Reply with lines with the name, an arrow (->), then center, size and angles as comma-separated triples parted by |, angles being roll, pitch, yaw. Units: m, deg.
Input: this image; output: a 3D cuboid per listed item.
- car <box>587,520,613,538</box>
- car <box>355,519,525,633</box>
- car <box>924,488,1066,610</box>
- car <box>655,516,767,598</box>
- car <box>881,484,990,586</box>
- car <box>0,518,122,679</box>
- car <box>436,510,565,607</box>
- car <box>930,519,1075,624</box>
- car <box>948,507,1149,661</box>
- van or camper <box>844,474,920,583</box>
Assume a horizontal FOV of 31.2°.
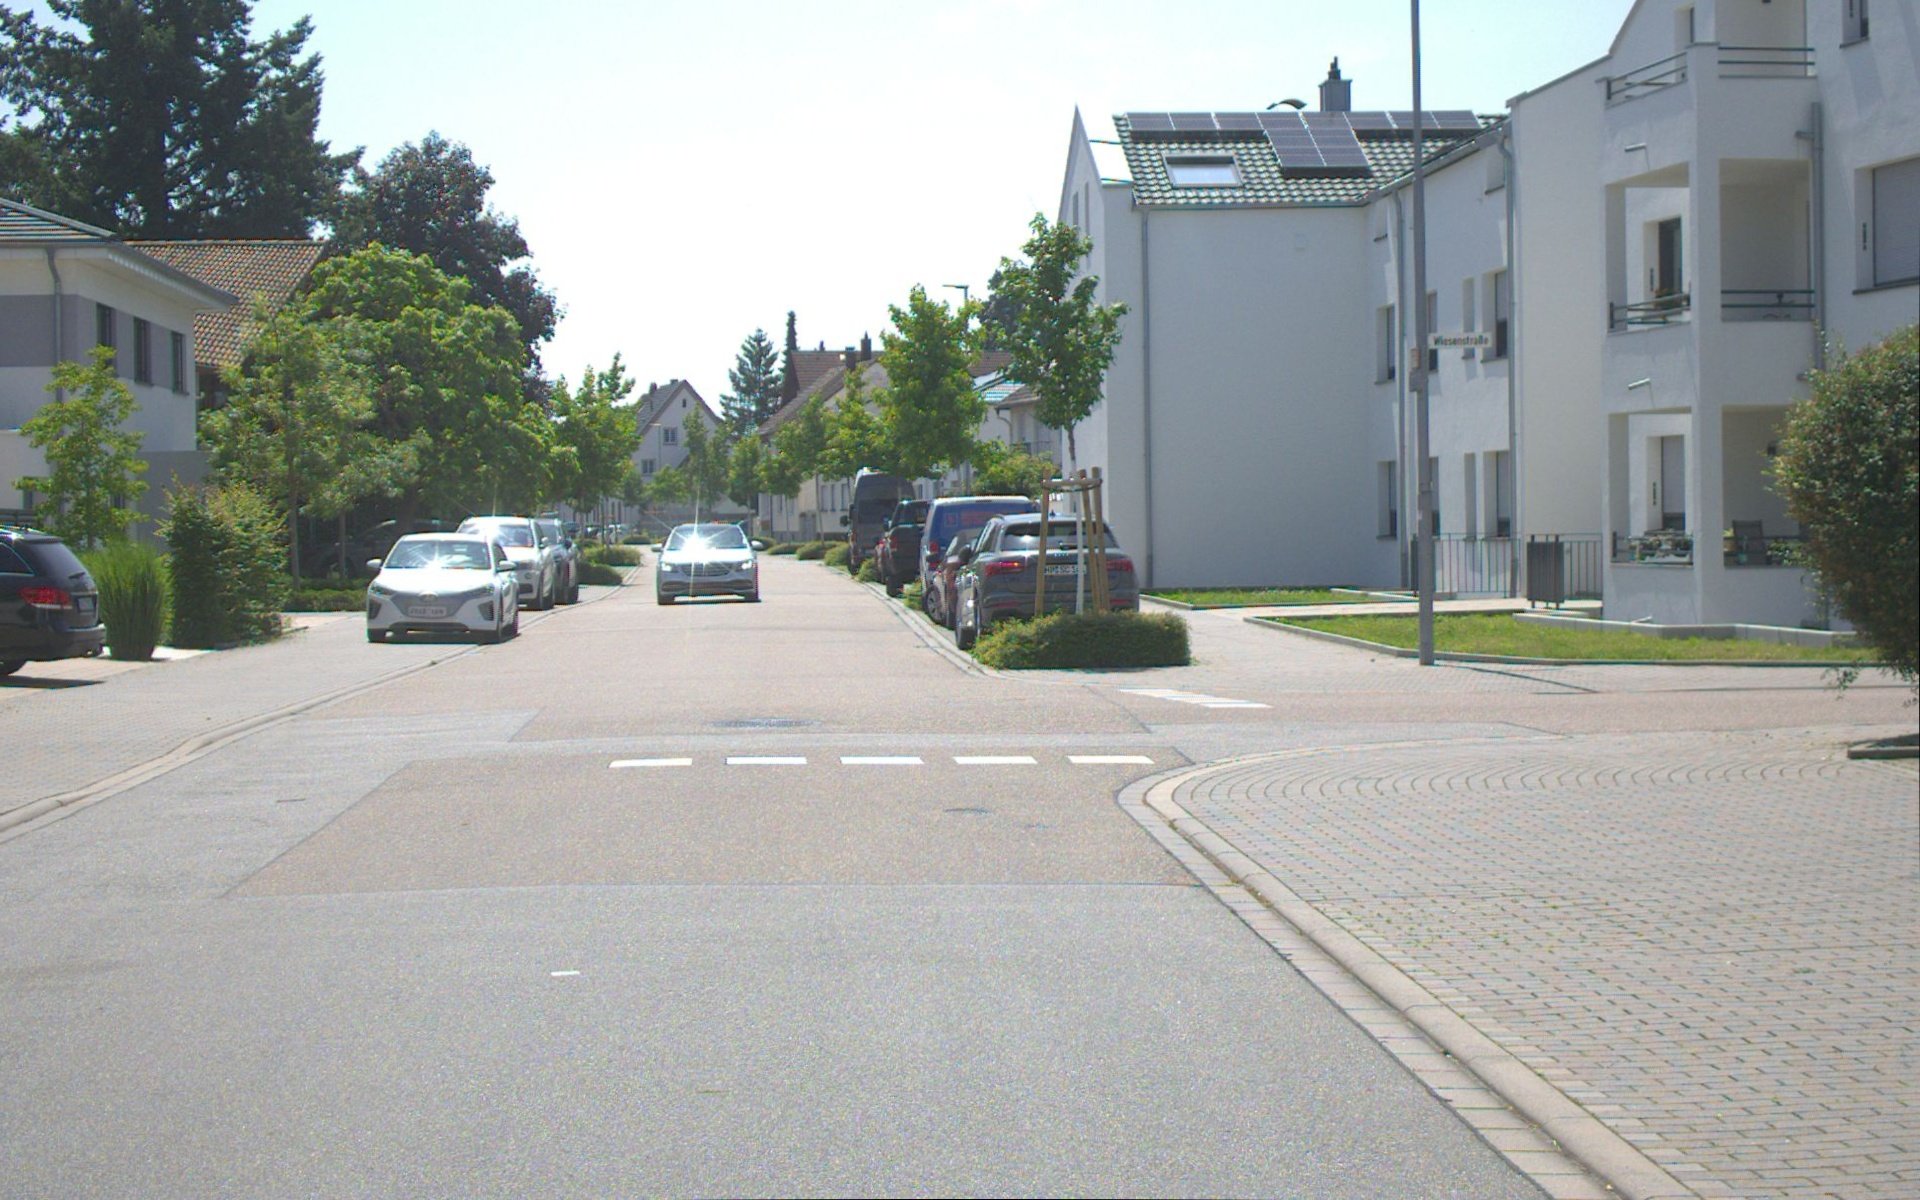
car -> -26.076, -5.127, 249.127 | 1.663, 1.246, 3.932 | -1, 1, -3
car -> -7.146, -0.375, 47.607 | 1.852, 1.483, 4.386 | -1, 1, -2
car -> 0.527, -0.852, 56.150 | 2.099, 1.875, 4.843 | -1, 1, -2
car -> -4.685, -0.841, 65.333 | 1.853, 1.473, 4.700 | -1, 1, -1
car -> -0.540, -1.336, 70.264 | 1.993, 1.940, 5.215 | -2, 1, -2
car -> -10.607, -0.114, 33.367 | 4.429, 1.468, 1.851 | 3, 1, 1
car -> -8.334, -0.790, 62.661 | 1.927, 1.681, 4.499 | -1, 1, -2
car -> 0.574, -0.439, 49.473 | 1.679, 1.437, 4.028 | -1, 1, -5
car -> 0.956, -0.225, 39.351 | 1.773, 1.590, 4.280 | -2, 2, -5
van or camper -> -2.176, -1.984, 95.217 | 1.993, 2.931, 4.001 | 0, 1, -3
